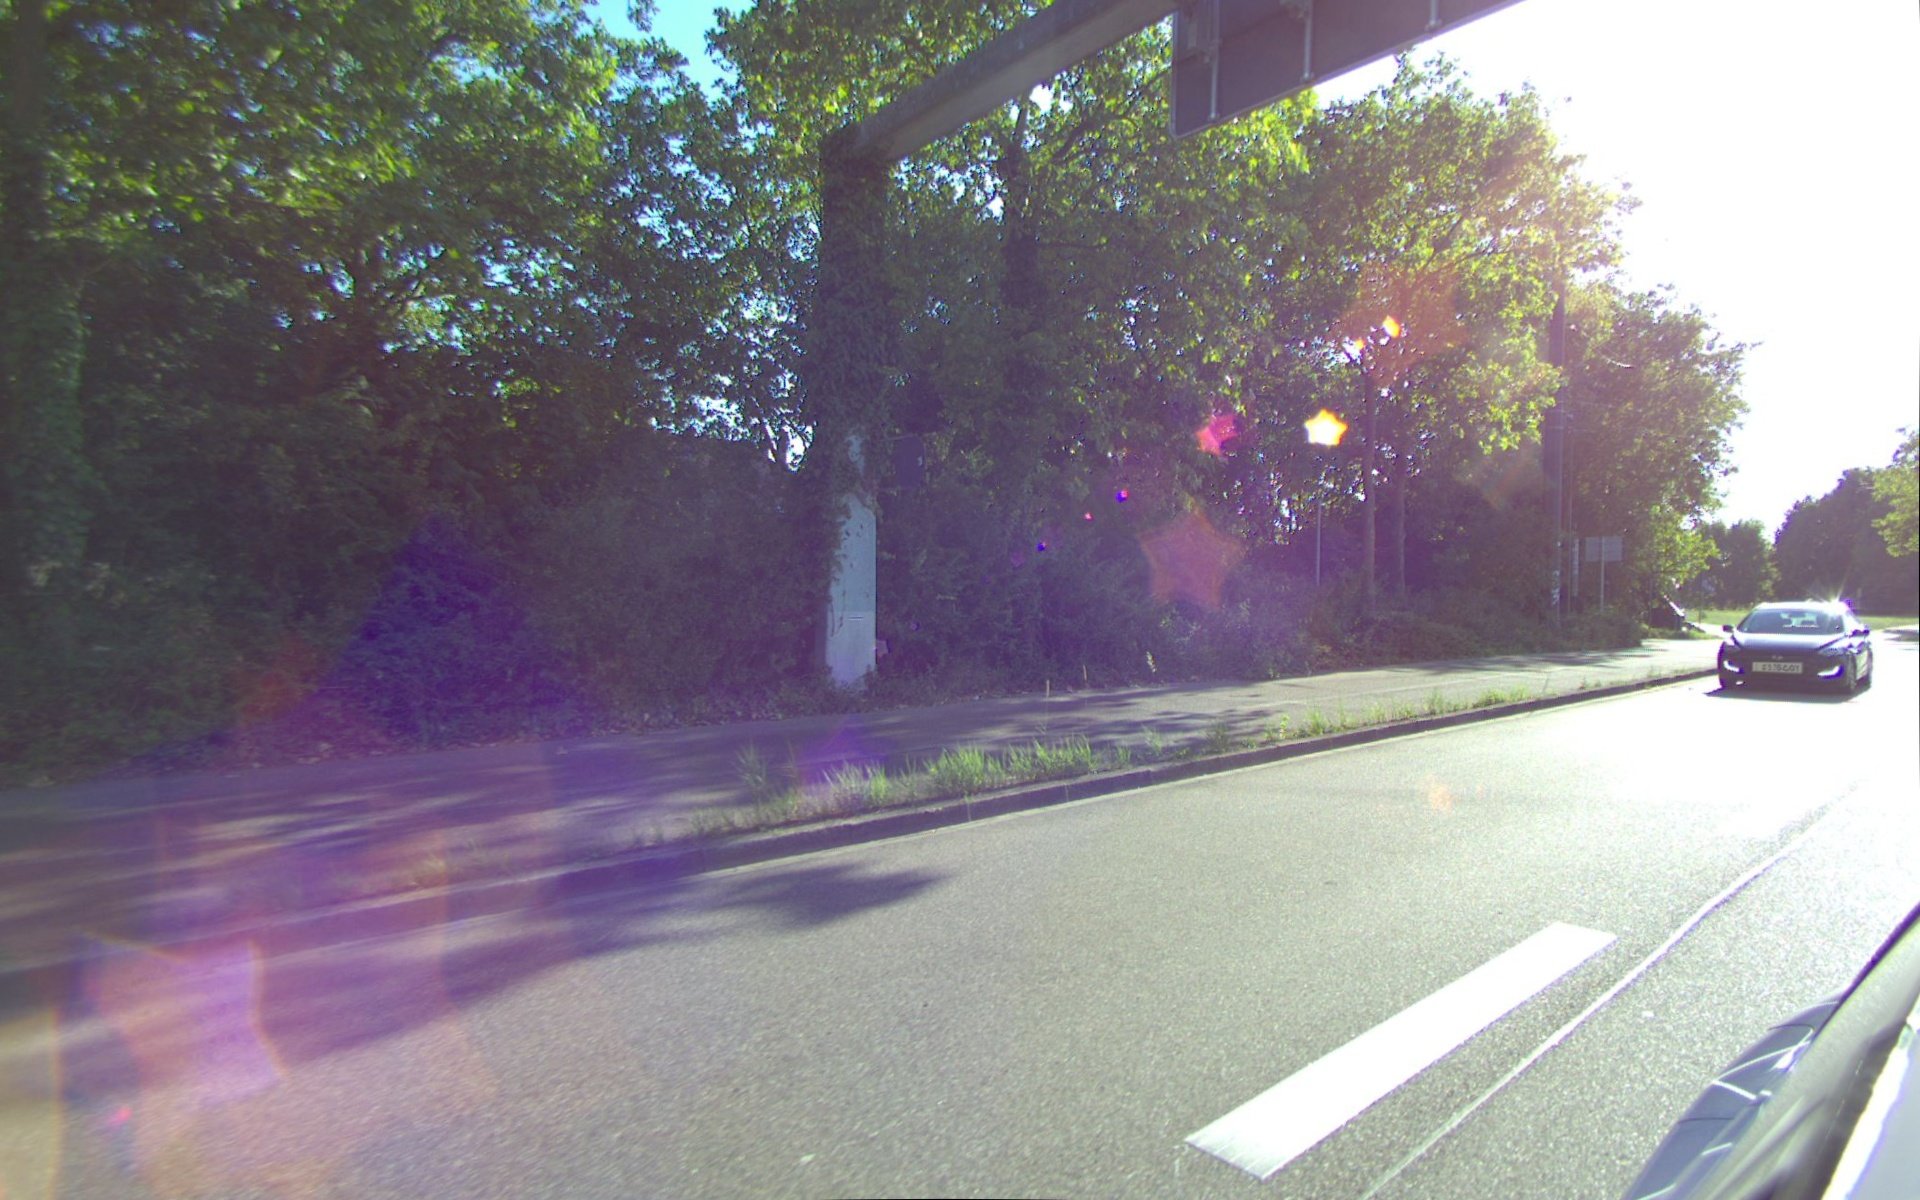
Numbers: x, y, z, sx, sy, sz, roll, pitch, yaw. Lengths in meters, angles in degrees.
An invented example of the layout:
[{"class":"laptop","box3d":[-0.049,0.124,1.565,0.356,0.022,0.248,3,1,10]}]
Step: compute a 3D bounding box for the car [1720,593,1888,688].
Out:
[{"class":"car","box3d":[14.946,0.627,17.842,4.153,1.458,1.794,-1,0,-43]}]
